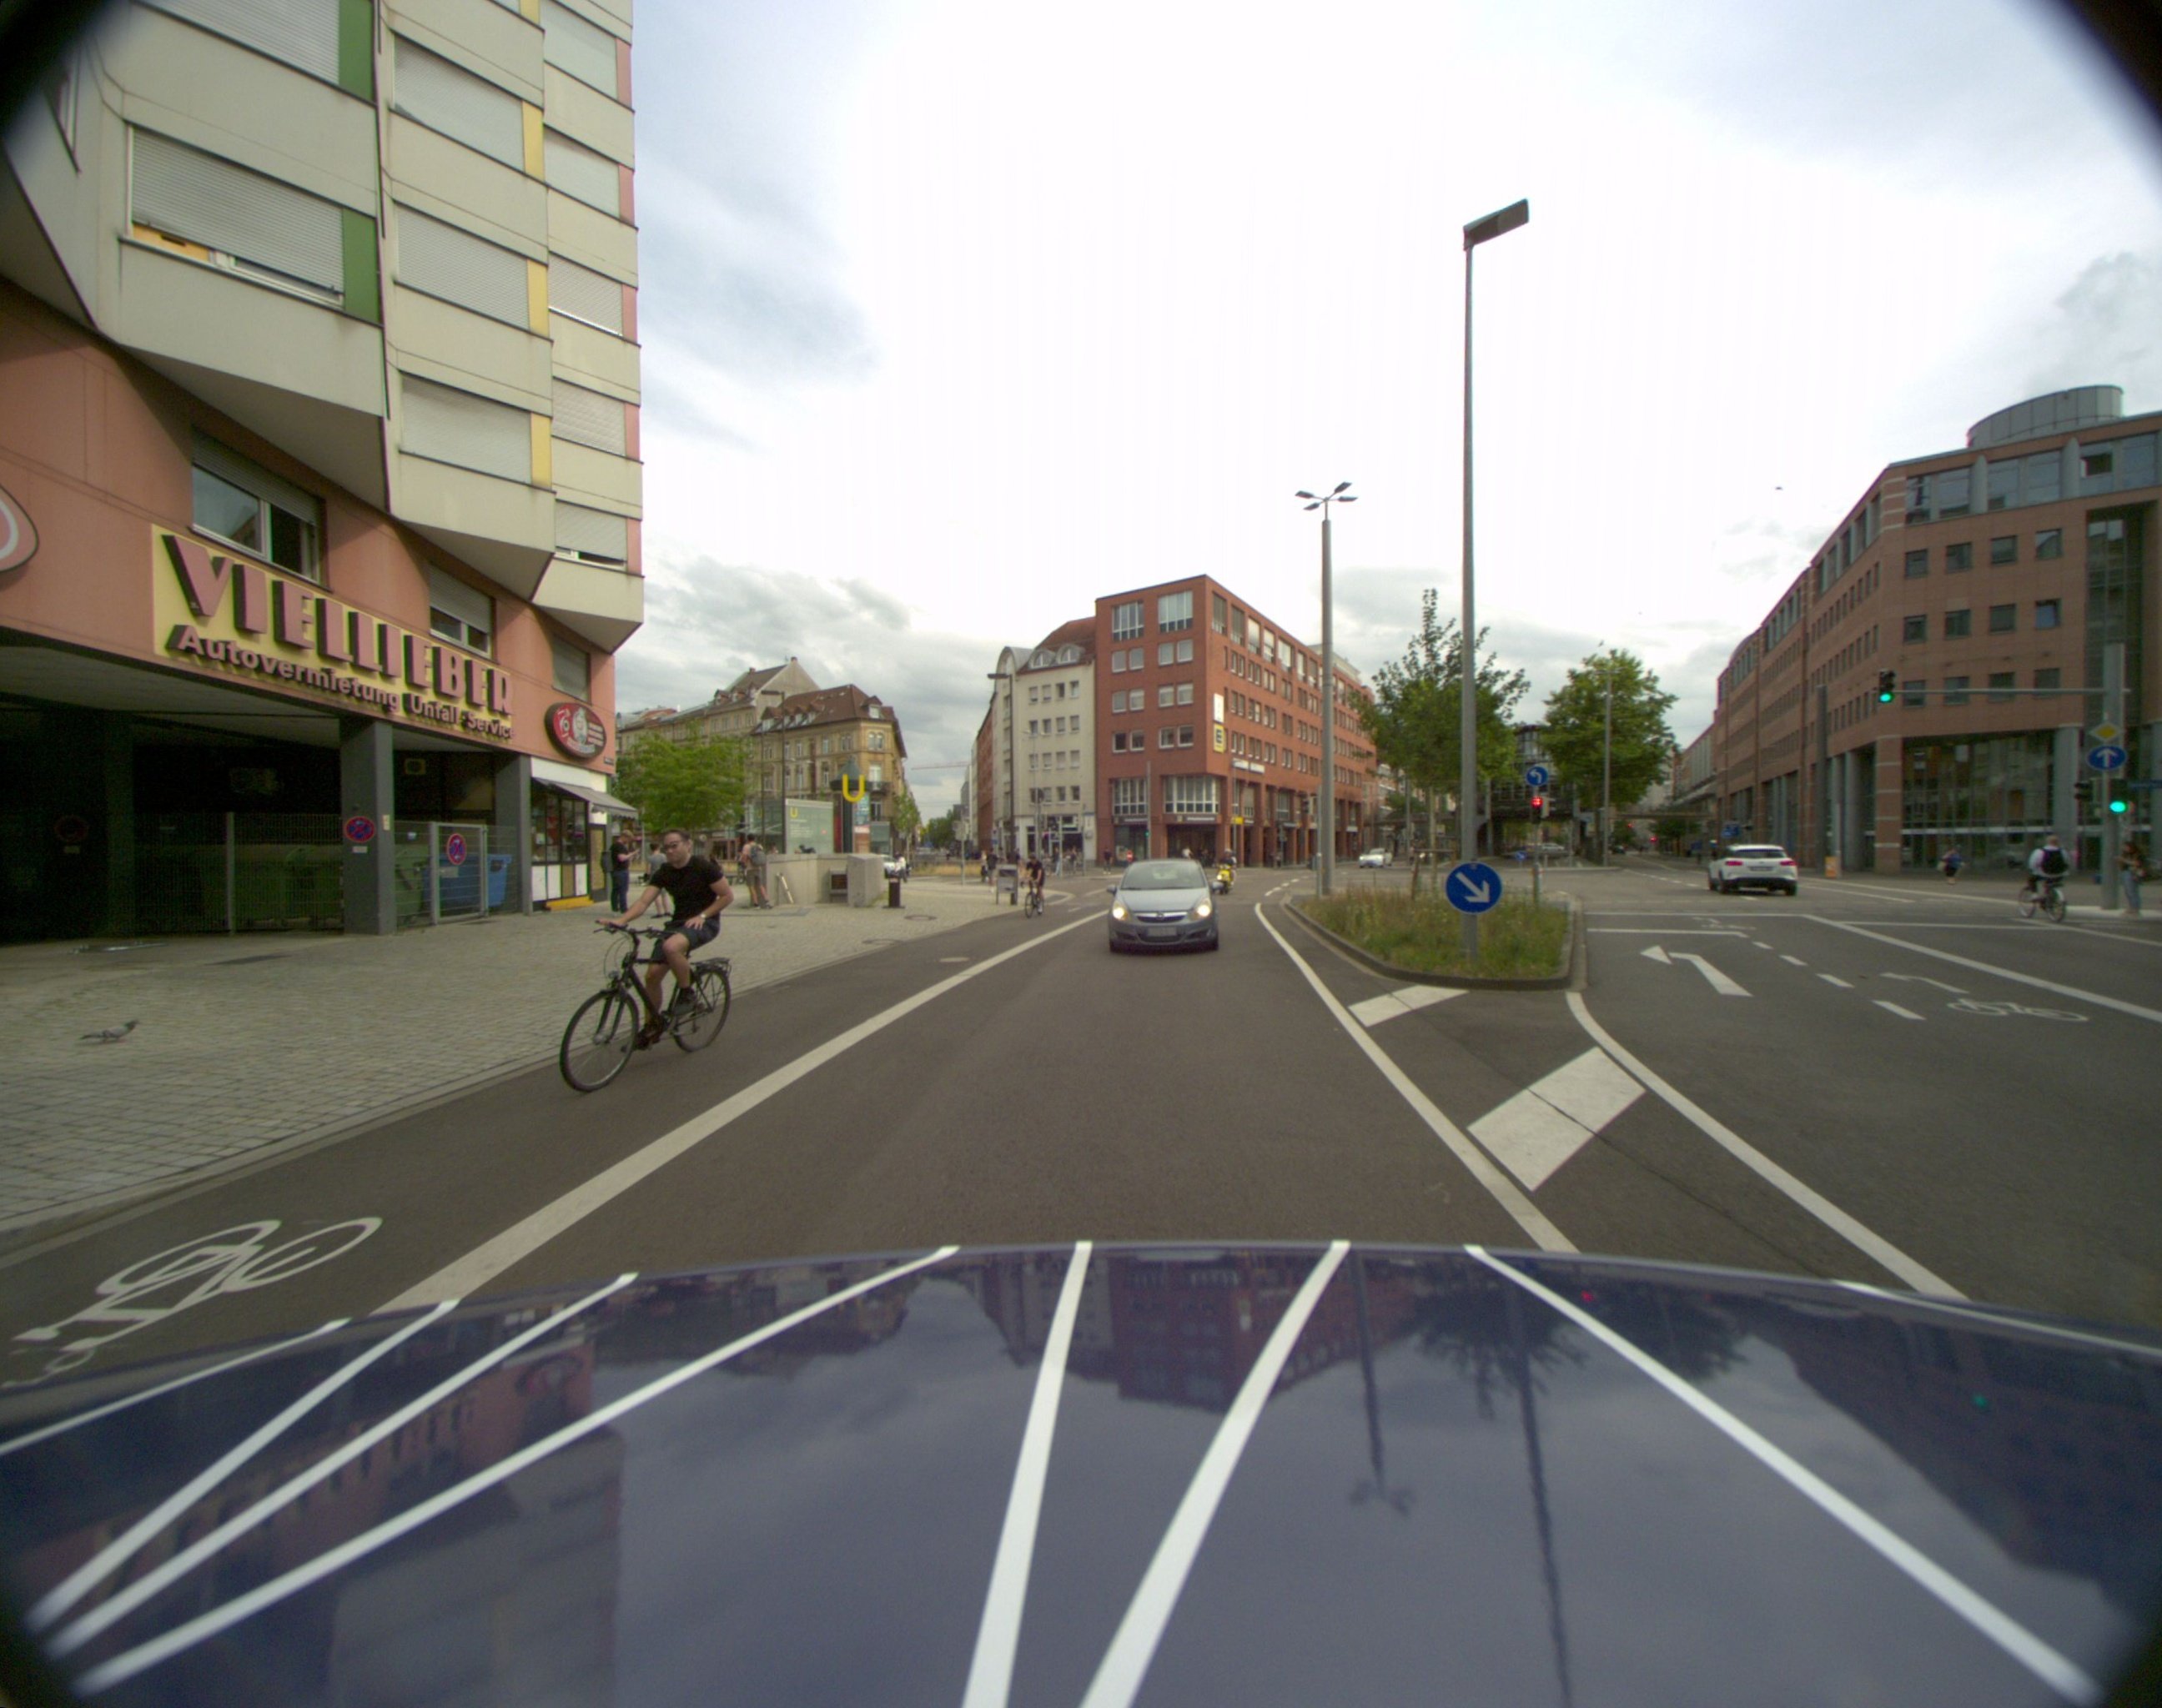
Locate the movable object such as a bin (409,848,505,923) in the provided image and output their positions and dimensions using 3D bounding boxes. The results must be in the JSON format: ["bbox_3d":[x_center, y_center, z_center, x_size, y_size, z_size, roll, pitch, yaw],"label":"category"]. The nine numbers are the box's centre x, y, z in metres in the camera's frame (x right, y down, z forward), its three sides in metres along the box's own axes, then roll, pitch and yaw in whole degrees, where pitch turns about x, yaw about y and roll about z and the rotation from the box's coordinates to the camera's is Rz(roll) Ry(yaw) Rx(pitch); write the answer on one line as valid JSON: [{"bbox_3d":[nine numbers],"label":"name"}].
[{"bbox_3d":[-12.894,0.622,15.760,1.147,1.507,1.087,0,1,-12],"label":"movable object such as a bin"}]

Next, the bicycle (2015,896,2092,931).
[{"bbox_3d":[20.584,1.243,16.118,0.483,0.585,2.002,0,1,37],"label":"bicycle"}]

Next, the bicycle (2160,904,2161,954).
[{"bbox_3d":[16.869,1.203,11.155,0.409,0.790,2.002,0,1,31],"label":"bicycle"}]

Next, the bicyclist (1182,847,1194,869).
[{"bbox_3d":[8.546,0.329,60.667,0.641,1.699,0.864,0,-1,34],"label":"bicyclist"}]

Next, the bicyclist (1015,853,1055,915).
[{"bbox_3d":[-1.222,0.792,20.181,0.612,1.594,0.848,-2,0,32],"label":"bicyclist"}]

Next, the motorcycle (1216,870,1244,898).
[{"bbox_3d":[5.639,1.128,28.751,0.569,0.962,2.017,0,1,25],"label":"motorcycle"}]

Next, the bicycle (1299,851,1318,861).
[{"bbox_3d":[23.814,0.257,79.539,1.855,1.034,0.508,0,1,34],"label":"bicycle"}]

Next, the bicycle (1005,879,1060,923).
[{"bbox_3d":[-1.259,1.214,20.129,0.488,0.995,1.751,-1,2,32],"label":"bicycle"}]

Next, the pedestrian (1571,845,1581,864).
[{"bbox_3d":[42.000,0.035,64.467,0.657,1.529,0.559,0,3,30],"label":"pedestrian"}]

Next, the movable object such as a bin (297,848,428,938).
[{"bbox_3d":[-12.316,0.629,13.095,1.149,1.452,1.222,0,1,-12],"label":"movable object such as a bin"}]

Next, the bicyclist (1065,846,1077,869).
[{"bbox_3d":[-0.645,0.227,50.261,0.746,1.550,0.946,0,1,-5],"label":"bicyclist"}]

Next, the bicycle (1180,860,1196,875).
[{"bbox_3d":[8.556,1.075,60.711,0.390,1.115,2.081,4,1,31],"label":"bicycle"}]

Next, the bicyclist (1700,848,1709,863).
[{"bbox_3d":[60.174,0.157,73.329,0.550,1.373,0.739,1,1,35],"label":"bicyclist"}]

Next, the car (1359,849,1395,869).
[{"bbox_3d":[24.805,0.377,63.514,1.953,1.592,4.008,0,1,34],"label":"car"}]

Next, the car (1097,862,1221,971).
[{"bbox_3d":[1.475,0.931,12.890,1.722,1.395,4.002,-2,1,11],"label":"car"}]

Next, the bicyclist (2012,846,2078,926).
[{"bbox_3d":[20.480,0.659,16.164,0.608,1.636,1.039,0,1,37],"label":"bicyclist"}]

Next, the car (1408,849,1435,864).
[{"bbox_3d":[36.763,0.218,82.026,1.953,1.592,4.008,0,0,34],"label":"car"}]

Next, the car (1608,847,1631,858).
[{"bbox_3d":[91.503,-0.261,129.126,2.503,1.936,5.102,0,1,29],"label":"car"}]

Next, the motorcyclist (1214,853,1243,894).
[{"bbox_3d":[5.594,0.722,28.749,0.870,1.508,1.045,0,1,24],"label":"motorcyclist"}]

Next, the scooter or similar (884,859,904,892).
[{"bbox_3d":[-7.197,0.815,29.203,0.286,1.205,1.126,0,1,11],"label":"scooter or similar"}]

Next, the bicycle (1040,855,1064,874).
[{"bbox_3d":[-1.729,0.631,45.310,0.397,1.104,1.834,0,1,34],"label":"bicycle"}]

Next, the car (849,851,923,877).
[{"bbox_3d":[-12.272,0.592,47.735,4.590,1.503,2.004,1,2,35],"label":"car"}]

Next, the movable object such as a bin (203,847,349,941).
[{"bbox_3d":[-13.518,0.633,12.820,1.198,1.507,1.196,0,1,-12],"label":"movable object such as a bin"}]

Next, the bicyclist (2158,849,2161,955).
[{"bbox_3d":[16.824,0.752,11.225,0.712,1.640,0.973,0,1,33],"label":"bicyclist"}]

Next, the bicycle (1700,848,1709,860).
[{"bbox_3d":[60.301,0.015,73.467,0.546,1.111,1.593,0,0,35],"label":"bicycle"}]

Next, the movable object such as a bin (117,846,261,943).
[{"bbox_3d":[-14.605,0.622,12.493,1.006,1.507,1.166,0,1,-12],"label":"movable object such as a bin"}]

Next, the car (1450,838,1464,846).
[{"bbox_3d":[76.047,-2.410,153.507,1.953,1.592,4.008,0,1,34],"label":"car"}]

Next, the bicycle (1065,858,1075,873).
[{"bbox_3d":[-0.736,0.747,50.085,0.543,0.945,1.806,0,0,-5],"label":"bicycle"}]

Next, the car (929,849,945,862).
[{"bbox_3d":[-16.891,0.153,89.111,1.696,1.577,3.655,0,1,-13],"label":"car"}]

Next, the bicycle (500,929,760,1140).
[{"bbox_3d":[-3.238,1.221,5.730,0.406,1.115,2.019,-1,0,12],"label":"bicycle"}]

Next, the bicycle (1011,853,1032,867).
[{"bbox_3d":[-5.233,0.523,66.682,1.802,1.197,0.544,0,1,24],"label":"bicycle"}]

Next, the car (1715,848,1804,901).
[{"bbox_3d":[23.029,0.617,25.939,1.832,1.650,4.333,0,1,36],"label":"car"}]

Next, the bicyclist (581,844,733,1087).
[{"bbox_3d":[-3.182,0.778,5.773,0.559,1.699,0.863,0,1,10],"label":"bicyclist"}]
